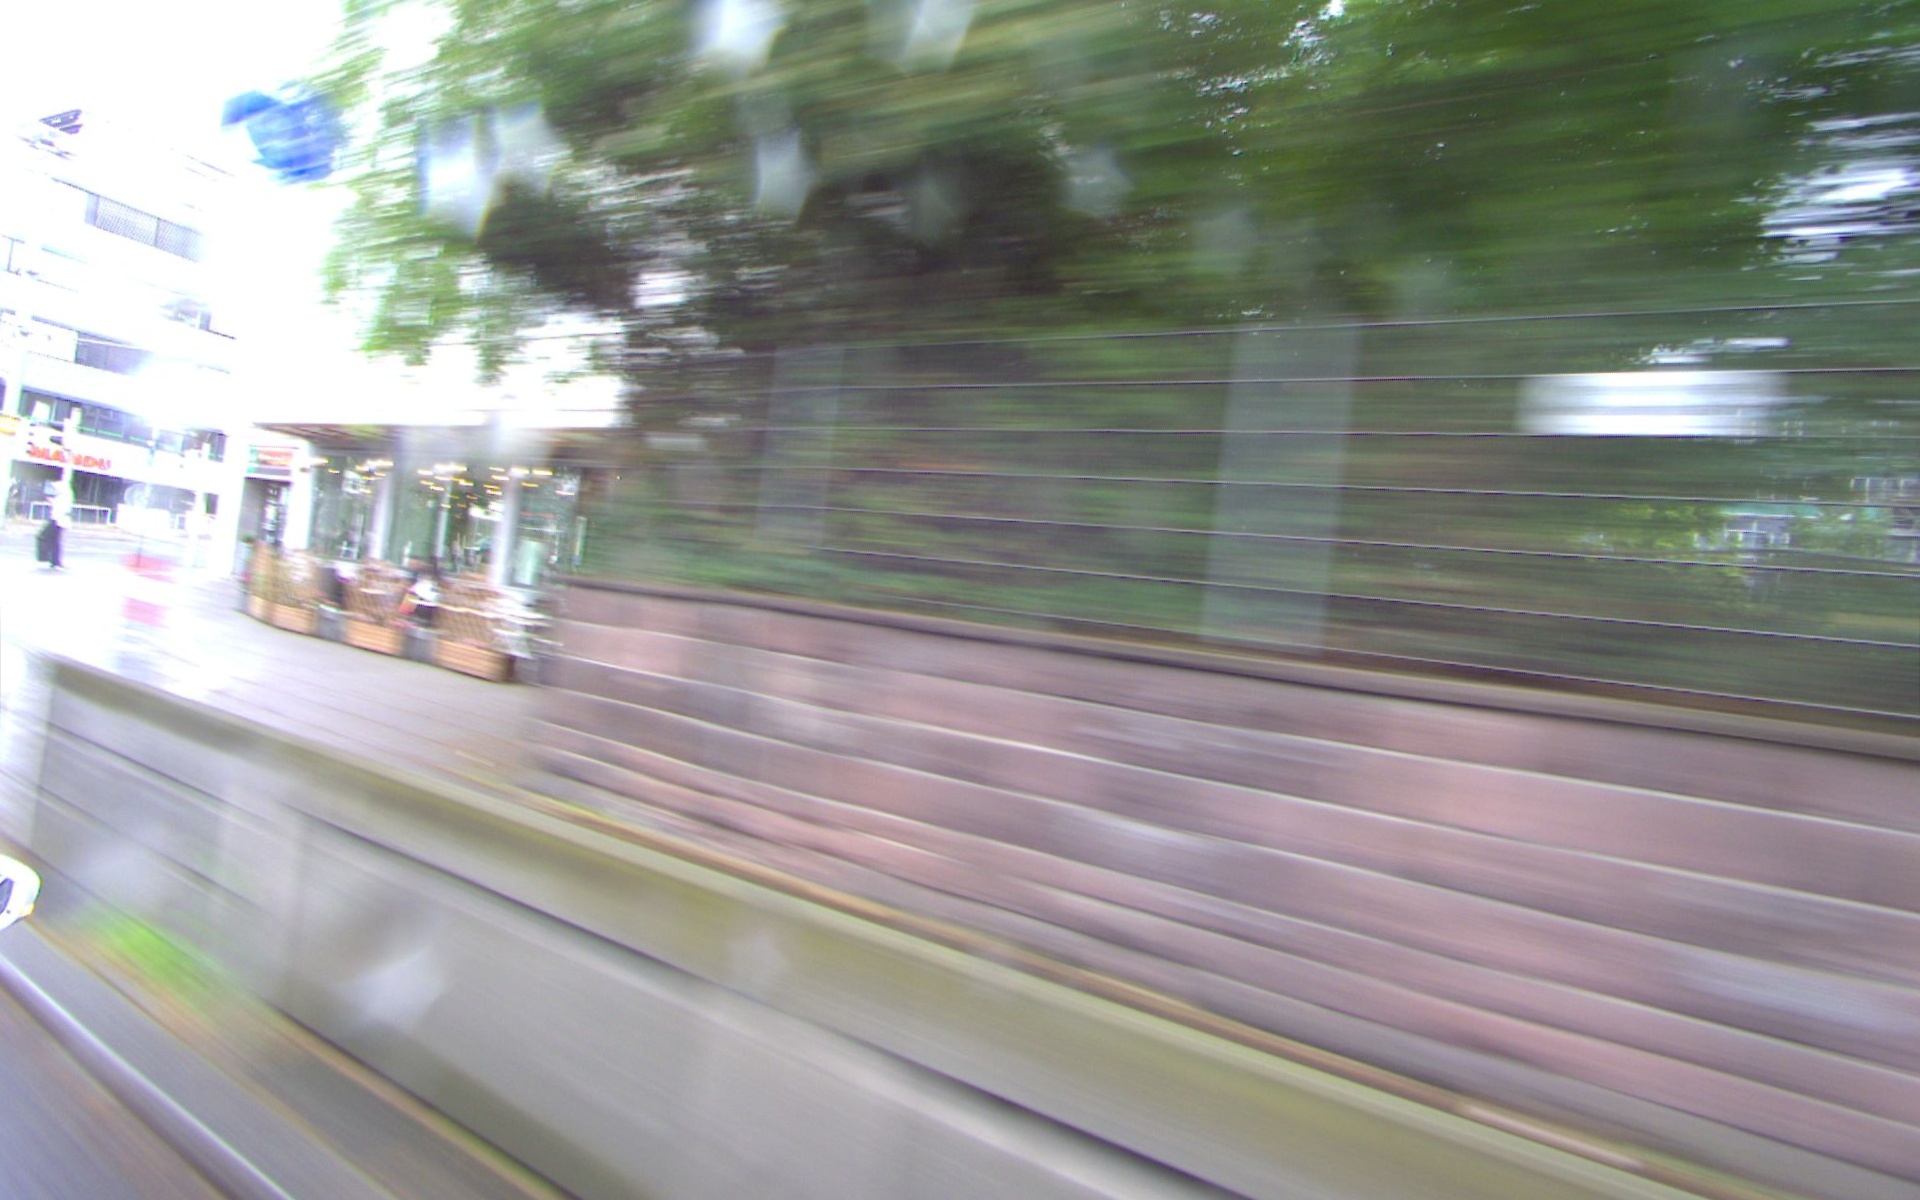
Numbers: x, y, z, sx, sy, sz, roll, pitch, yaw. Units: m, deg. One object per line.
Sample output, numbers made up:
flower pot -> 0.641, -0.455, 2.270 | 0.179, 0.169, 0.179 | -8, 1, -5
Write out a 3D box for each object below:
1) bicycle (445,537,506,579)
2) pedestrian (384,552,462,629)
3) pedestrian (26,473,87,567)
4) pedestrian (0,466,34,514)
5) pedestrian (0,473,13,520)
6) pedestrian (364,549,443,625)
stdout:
bicycle -> -16.405, -1.433, 34.046 | 2.285, 1.188, 0.648 | 7, 0, 32
pedestrian -> -9.142, -0.152, 17.150 | 0.559, 1.206, 0.916 | 7, 1, 31
pedestrian -> -17.616, -1.545, 19.637 | 0.521, 1.733, 0.702 | 7, 1, -20
pedestrian -> -41.247, -4.809, 44.008 | 0.709, 1.937, 0.695 | 7, 0, -21
pedestrian -> -41.277, -4.462, 43.083 | 0.709, 1.937, 0.695 | 7, 0, -21
pedestrian -> -9.677, -0.218, 17.507 | 0.625, 1.206, 0.930 | 7, 1, 31
